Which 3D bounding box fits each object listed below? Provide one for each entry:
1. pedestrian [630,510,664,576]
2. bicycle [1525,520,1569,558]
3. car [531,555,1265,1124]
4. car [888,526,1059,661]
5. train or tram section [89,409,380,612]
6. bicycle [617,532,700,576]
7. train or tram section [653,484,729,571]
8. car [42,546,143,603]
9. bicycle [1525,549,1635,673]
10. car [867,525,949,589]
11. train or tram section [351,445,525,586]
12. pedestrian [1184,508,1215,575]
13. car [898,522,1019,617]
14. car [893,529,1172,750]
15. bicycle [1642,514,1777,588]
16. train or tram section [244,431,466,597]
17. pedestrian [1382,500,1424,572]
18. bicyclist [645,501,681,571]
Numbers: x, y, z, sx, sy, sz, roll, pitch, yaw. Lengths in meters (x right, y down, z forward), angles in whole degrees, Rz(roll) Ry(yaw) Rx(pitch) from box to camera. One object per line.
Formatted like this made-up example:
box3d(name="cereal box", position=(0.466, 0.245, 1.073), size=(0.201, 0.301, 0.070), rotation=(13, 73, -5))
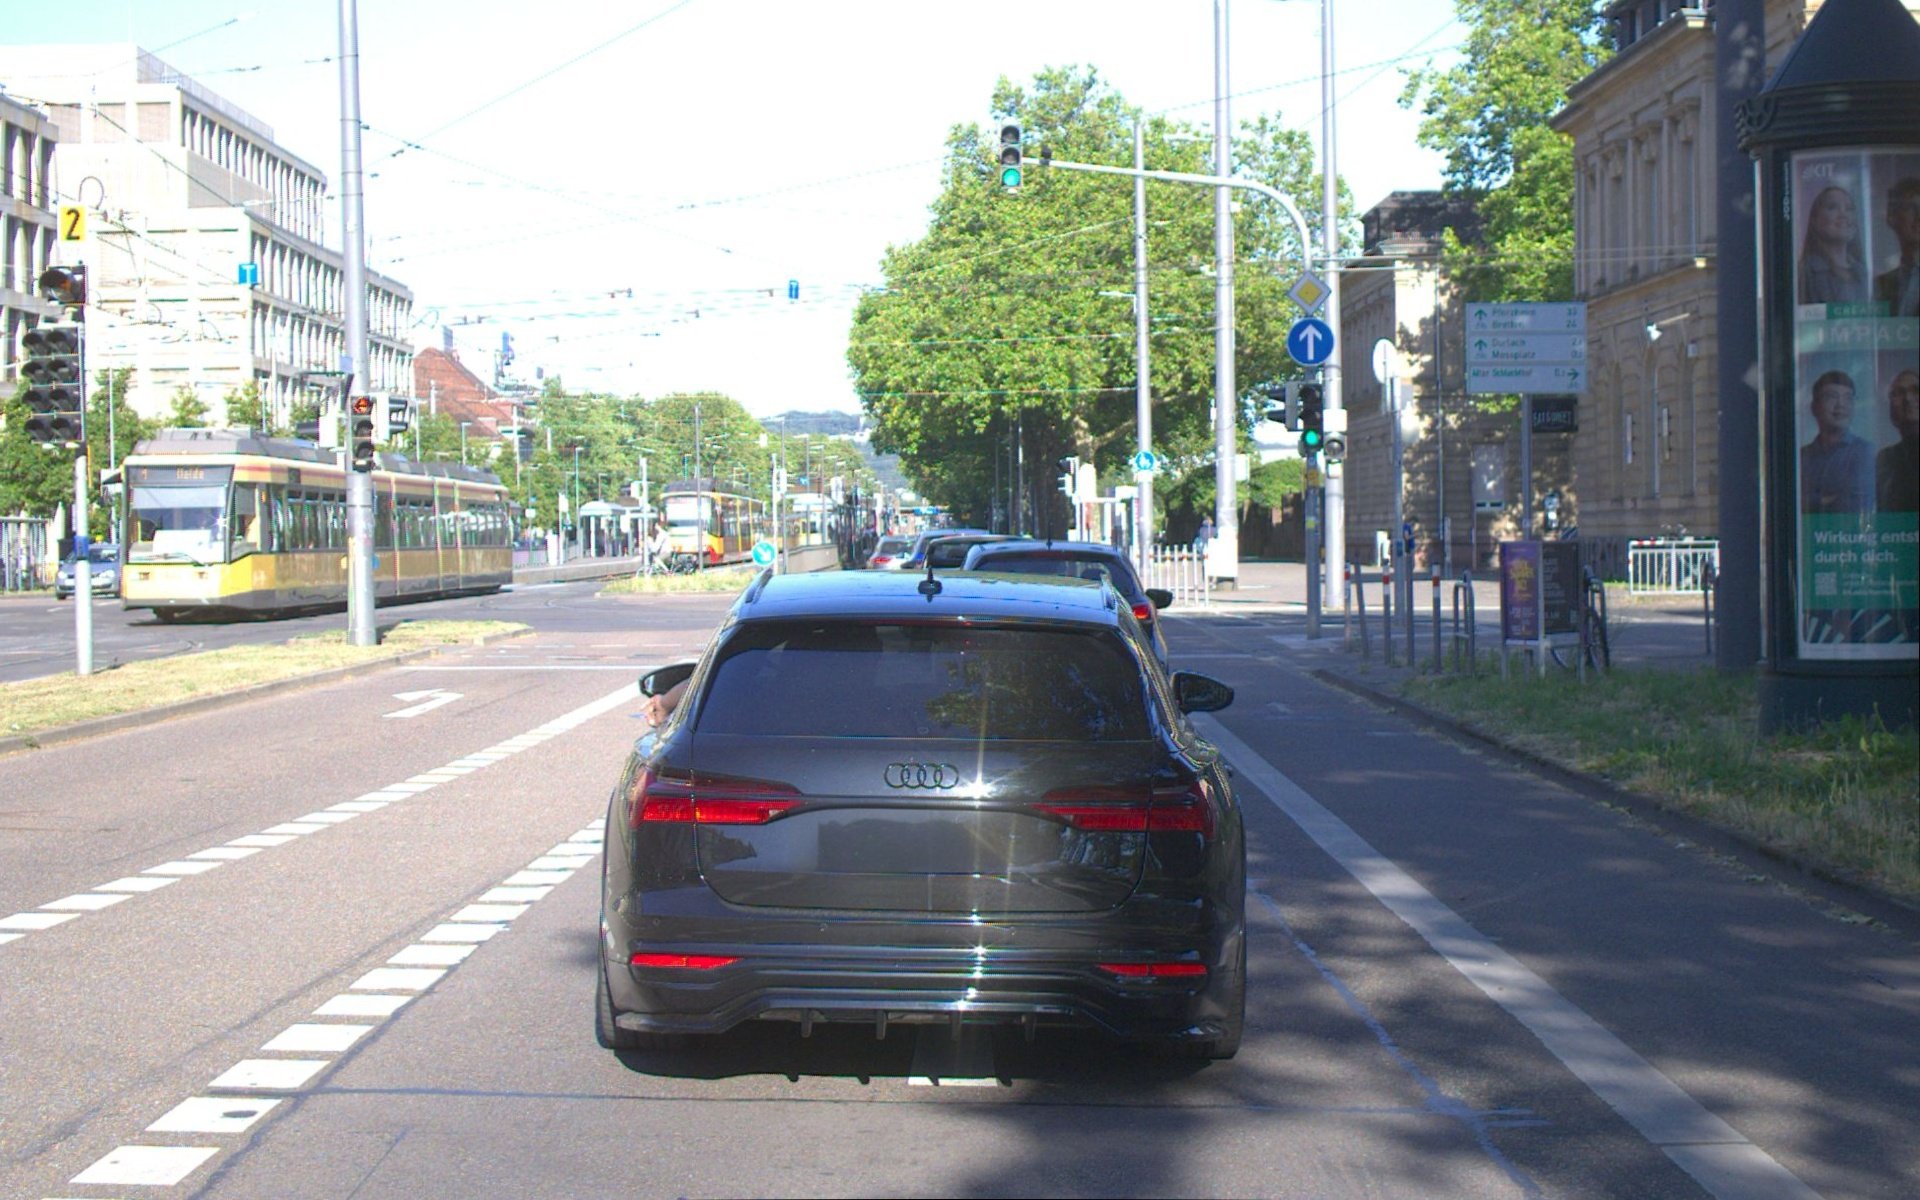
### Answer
box3d(name="pedestrian", position=(-8.338, -1.524, 91.533), size=(0.739, 1.735, 0.664), rotation=(-1, 1, -21))
box3d(name="bicycle", position=(16.803, -1.753, 98.527), size=(0.526, 1.043, 2.360), rotation=(-1, 1, -8))
box3d(name="car", position=(-0.161, 0.606, 11.135), size=(1.902, 1.417, 4.145), rotation=(1, 1, 0))
box3d(name="car", position=(0.159, -0.116, 40.956), size=(1.902, 1.481, 4.145), rotation=(1, 1, 0))
box3d(name="train or tram section", position=(-13.678, -1.684, 66.161), size=(2.813, 3.477, 13.204), rotation=(-1, 1, 0))
box3d(name="bicycle", position=(-7.892, -1.209, 90.021), size=(2.005, 1.104, 0.765), rotation=(-1, 1, -20))
box3d(name="train or tram section", position=(-11.086, -3.019, 142.630), size=(2.608, 3.439, 11.134), rotation=(-1, 1, -2))
box3d(name="car", position=(-23.329, -0.696, 92.534), size=(1.820, 1.452, 4.157), rotation=(-1, 1, -3))
box3d(name="bicycle", position=(5.547, 0.081, 30.850), size=(0.540, 1.058, 1.772), rotation=(-1, 1, -4))
box3d(name="car", position=(-1.264, -1.078, 84.946), size=(1.902, 1.481, 4.145), rotation=(1, 1, 0))
box3d(name="train or tram section", position=(-13.815, -2.233, 92.035), size=(2.813, 3.477, 12.155), rotation=(-1, 1, 0))
box3d(name="pedestrian", position=(5.980, -1.456, 85.904), size=(0.682, 1.655, 0.758), rotation=(-1, 1, -2))
box3d(name="car", position=(-0.017, -0.532, 57.250), size=(1.902, 1.481, 4.145), rotation=(1, 1, 0))
box3d(name="car", position=(0.505, 0.234, 25.956), size=(1.902, 1.481, 4.145), rotation=(1, 1, 0))
box3d(name="bicycle", position=(13.022, -0.861, 59.775), size=(2.136, 1.205, 0.765), rotation=(-2, 1, -2))
box3d(name="train or tram section", position=(-13.757, -1.967, 79.353), size=(2.813, 3.477, 13.204), rotation=(-1, 1, 0))
box3d(name="pedestrian", position=(11.583, -1.683, 89.904), size=(0.979, 1.859, 0.827), rotation=(-1, 1, 2))
box3d(name="bicyclist", position=(-7.785, -1.674, 90.063), size=(0.756, 1.812, 0.765), rotation=(-1, 1, -19))
